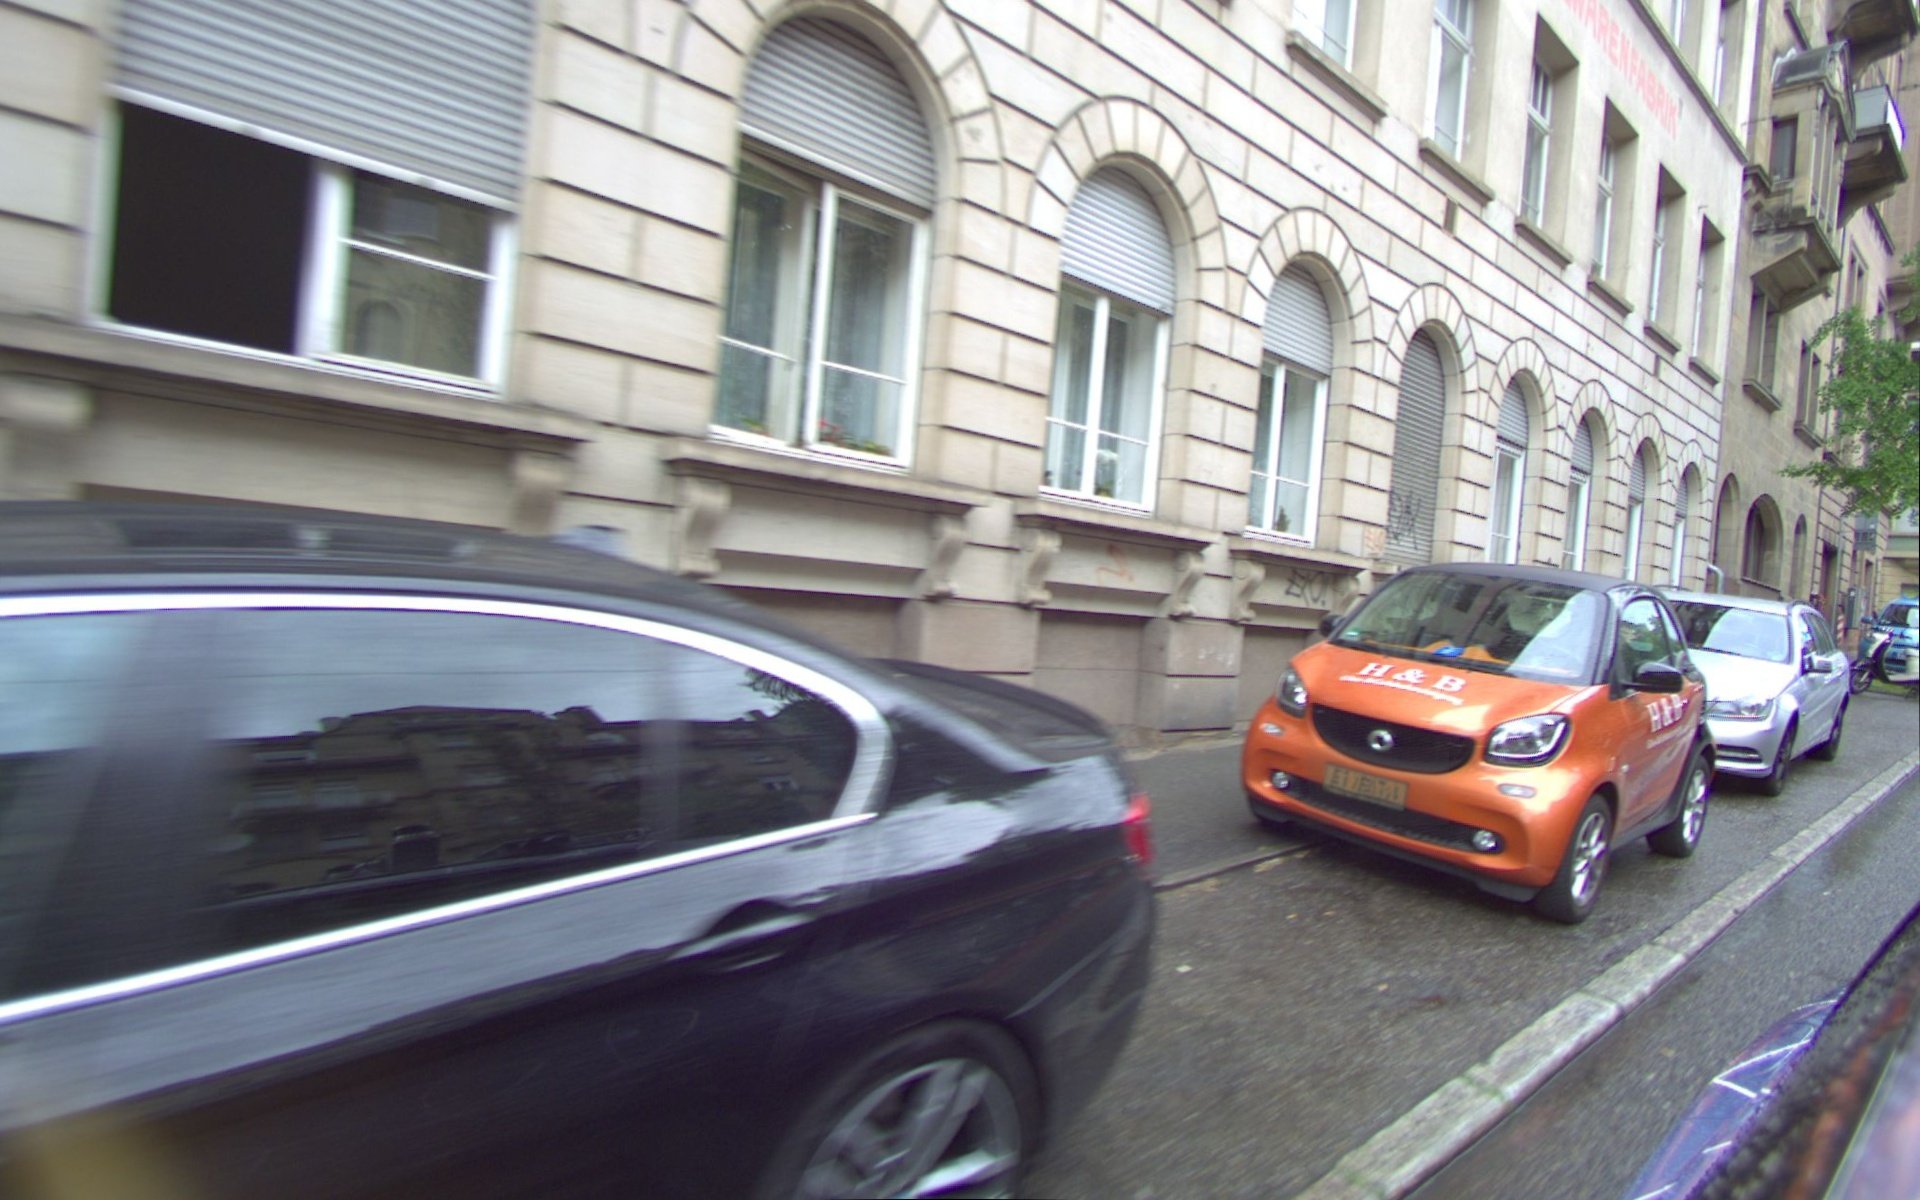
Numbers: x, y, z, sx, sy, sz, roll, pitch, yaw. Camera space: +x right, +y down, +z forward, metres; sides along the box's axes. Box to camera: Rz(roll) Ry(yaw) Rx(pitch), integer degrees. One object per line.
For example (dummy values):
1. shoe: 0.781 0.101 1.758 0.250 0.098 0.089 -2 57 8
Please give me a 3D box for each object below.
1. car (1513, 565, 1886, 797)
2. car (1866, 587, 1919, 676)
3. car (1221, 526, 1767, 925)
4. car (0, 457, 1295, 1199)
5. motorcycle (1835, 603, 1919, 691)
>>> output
1. car: 6.663 0.549 8.923 4.346 1.448 1.699 1 5 -42
2. car: 18.909 0.610 19.486 3.601 1.561 1.661 0 5 -41
3. car: 3.129 0.481 5.729 3.128 1.538 1.642 1 5 -42
4. car: -1.592 0.526 1.433 4.642 1.478 1.762 1 5 -42
5. motorcycle: 14.871 0.762 15.582 1.911 1.250 0.655 5 2 14
